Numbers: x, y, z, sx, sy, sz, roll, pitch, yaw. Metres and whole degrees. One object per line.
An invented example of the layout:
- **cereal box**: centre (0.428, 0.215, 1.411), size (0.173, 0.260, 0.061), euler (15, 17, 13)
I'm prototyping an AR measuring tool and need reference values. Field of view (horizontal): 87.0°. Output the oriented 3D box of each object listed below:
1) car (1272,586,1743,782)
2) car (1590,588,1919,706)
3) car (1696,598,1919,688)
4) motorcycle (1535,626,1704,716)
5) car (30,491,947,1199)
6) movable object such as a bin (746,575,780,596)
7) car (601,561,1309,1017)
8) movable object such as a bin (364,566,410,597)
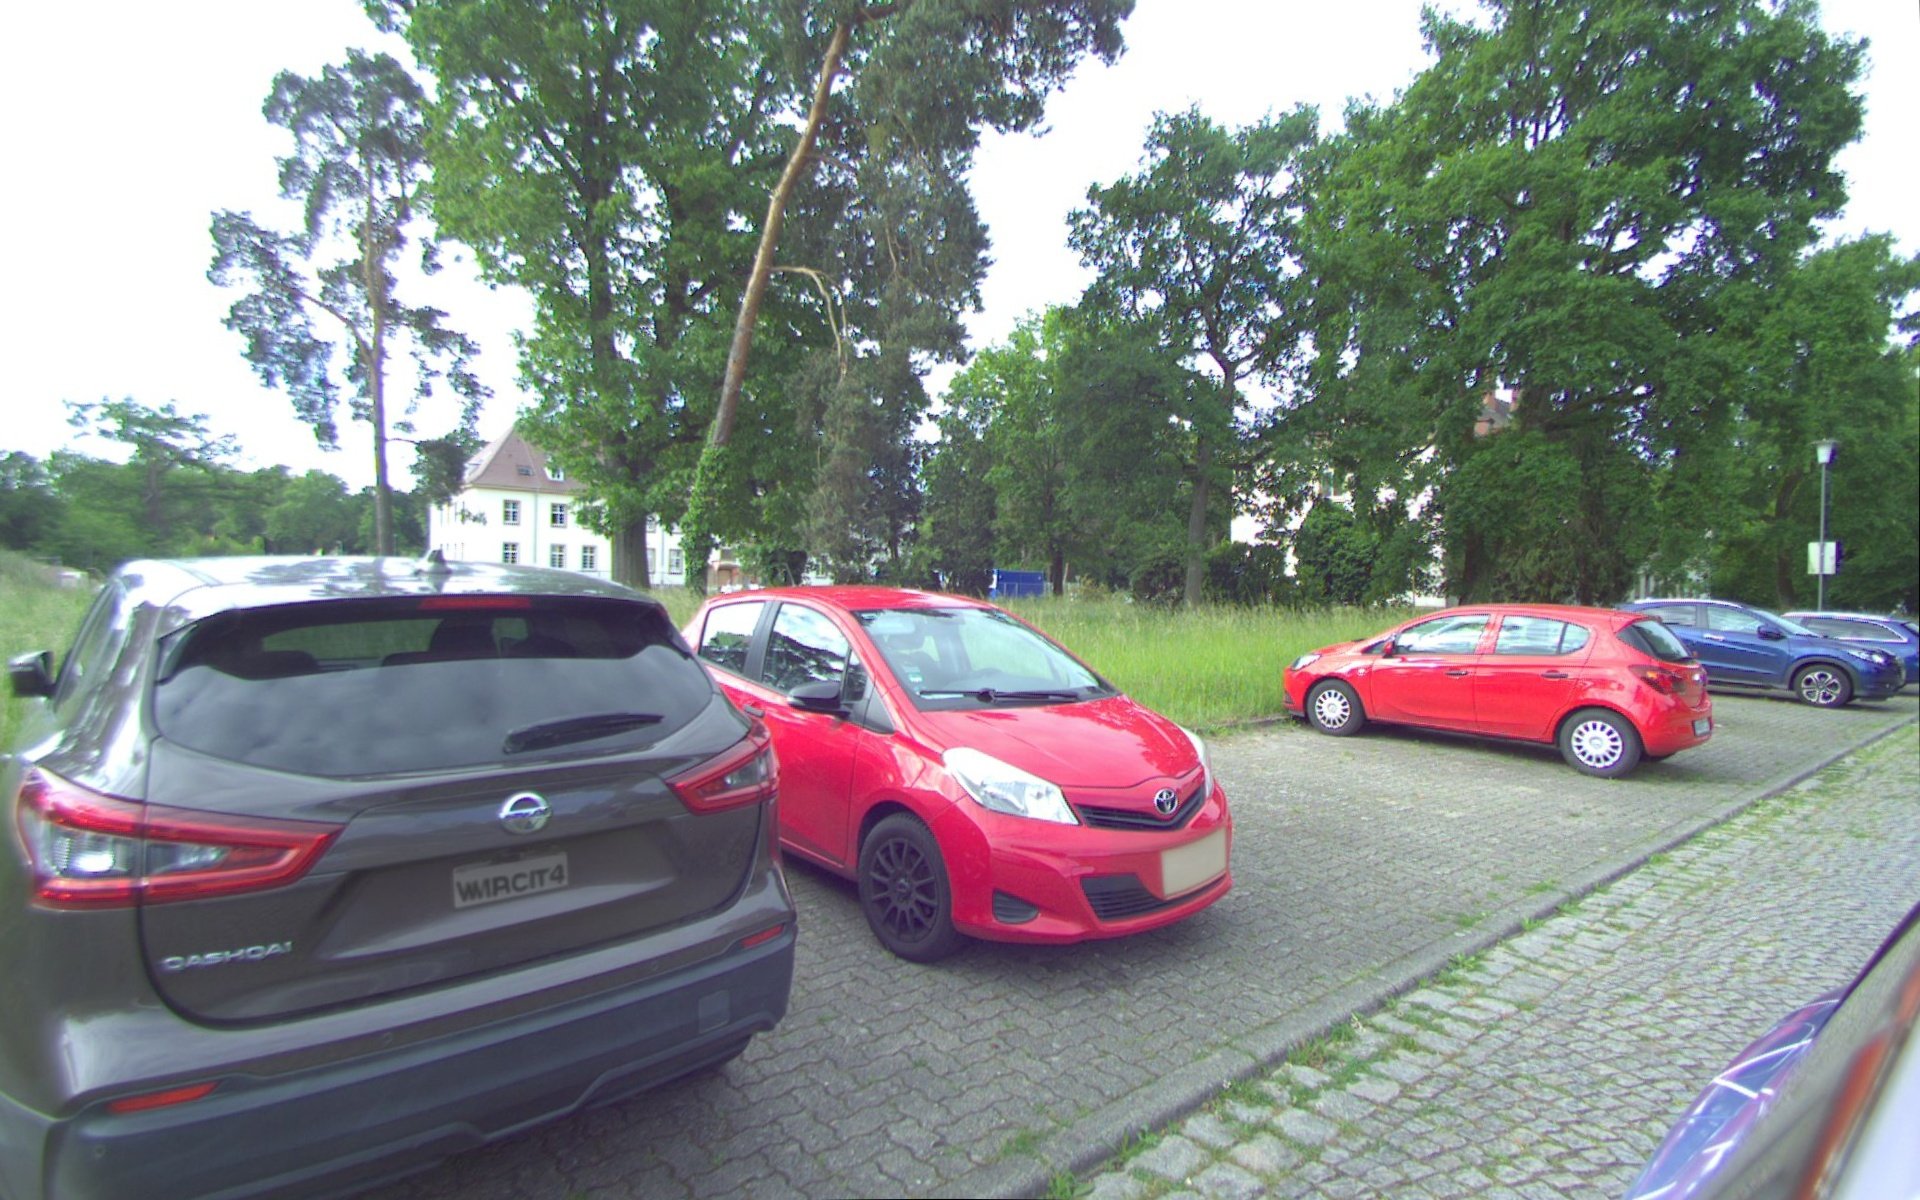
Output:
- **car**: centre (5.342, 0.675, 10.296), size (1.555, 1.478, 3.892), euler (1, 2, -41)
- **car**: centre (13.051, 0.673, 16.762), size (1.555, 1.557, 4.147), euler (1, 2, -41)
- **car**: centre (16.735, 0.781, 19.488), size (1.555, 1.443, 3.875), euler (1, 2, -41)
- **motorcycle**: centre (8.578, 0.891, 13.207), size (1.741, 0.969, 0.604), euler (4, 2, 44)
- **car**: centre (-2.123, 0.553, 3.728), size (1.790, 1.618, 4.268), euler (1, 2, -41)
- **movable object such as a bin**: centre (-19.730, -1.451, 101.484), size (2.932, 2.039, 1.553), euler (1, 1, -40)
- **car**: centre (-0.378, 0.597, 5.578), size (1.734, 1.504, 4.016), euler (1, 2, -39)
- **movable object such as a bin**: centre (-38.566, -1.261, 68.214), size (1.646, 2.039, 3.249), euler (1, 1, -9)
